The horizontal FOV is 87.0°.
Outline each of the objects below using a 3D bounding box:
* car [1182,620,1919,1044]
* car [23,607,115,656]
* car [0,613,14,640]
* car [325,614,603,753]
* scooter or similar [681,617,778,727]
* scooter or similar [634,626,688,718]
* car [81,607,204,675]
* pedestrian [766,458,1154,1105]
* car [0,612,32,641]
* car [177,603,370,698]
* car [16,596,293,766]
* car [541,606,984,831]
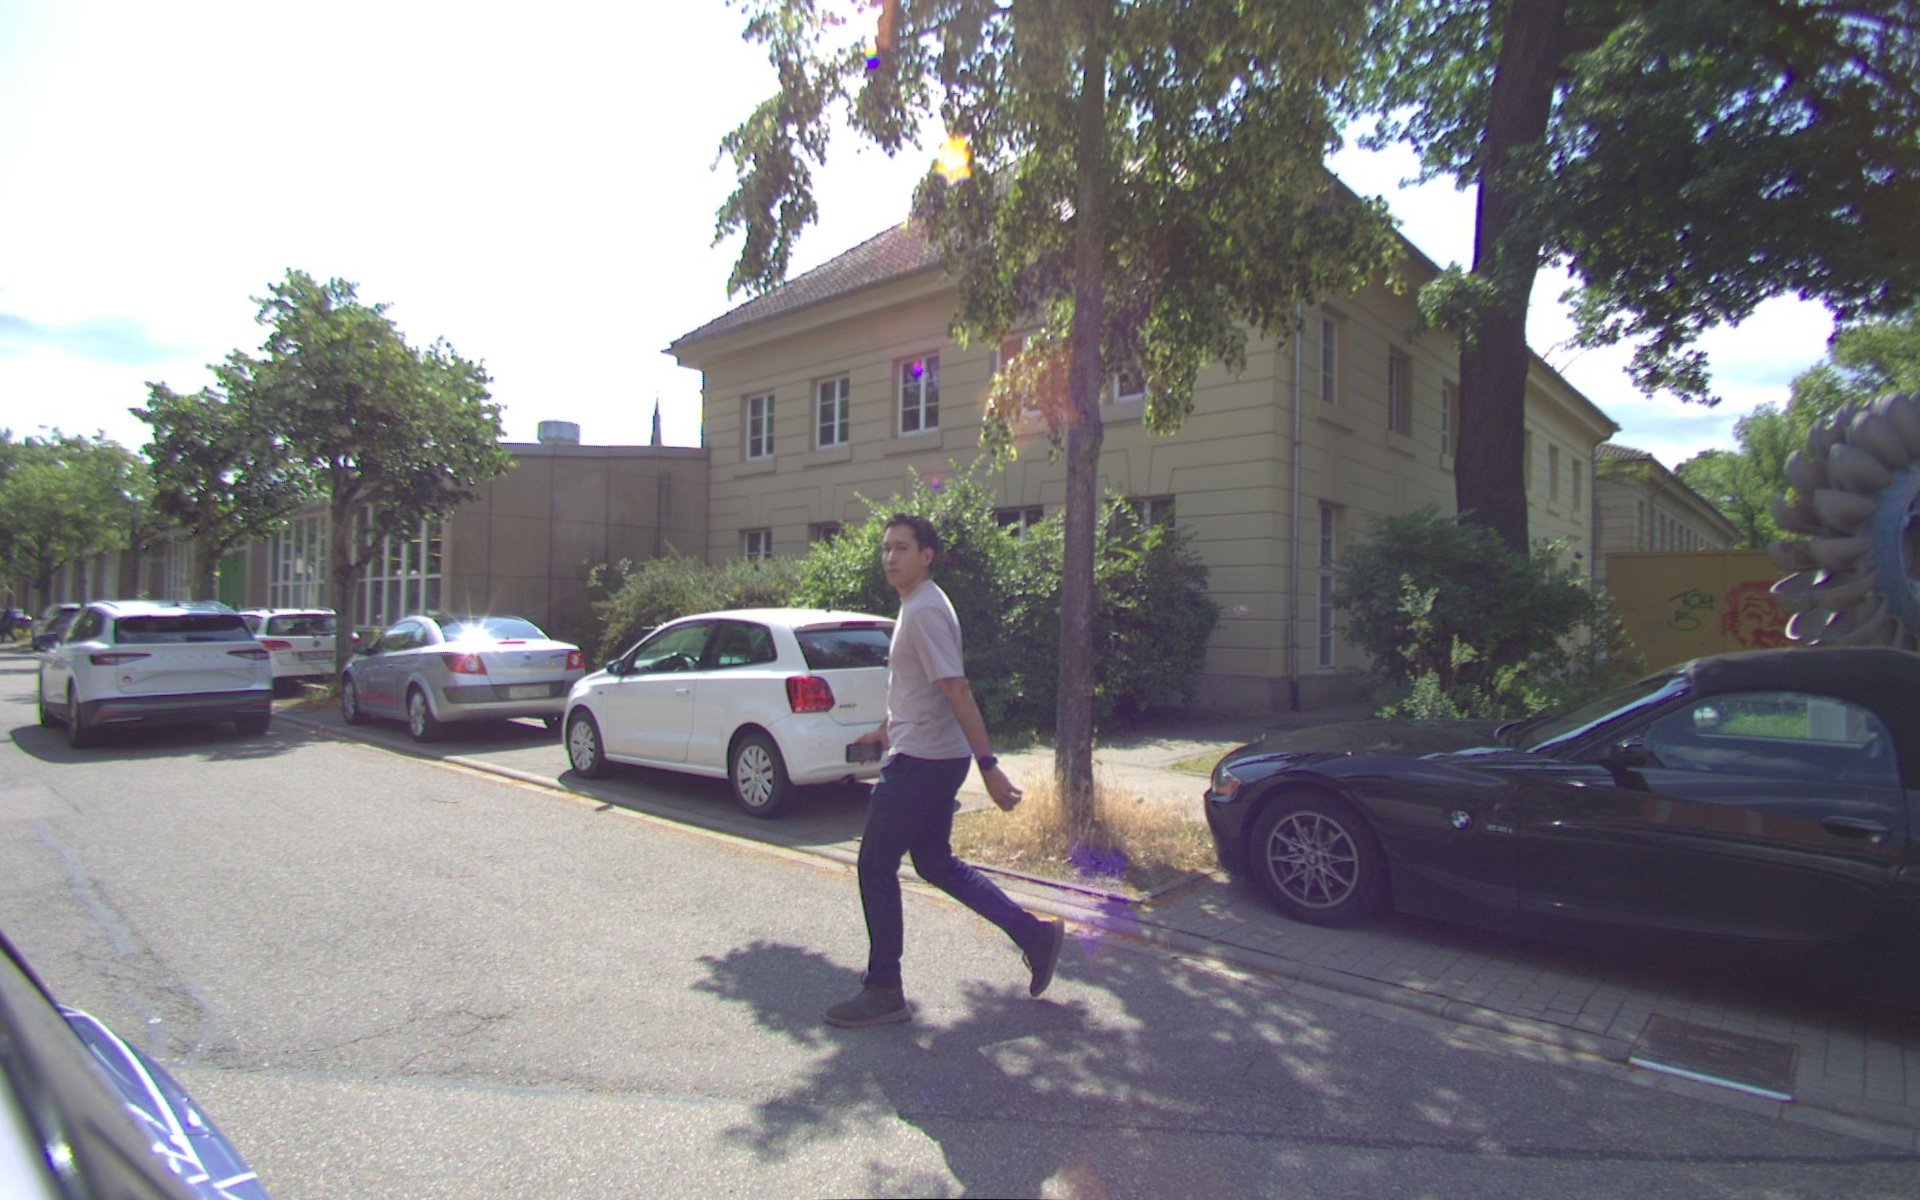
[{"bbox_3d":[3.069,0.757,4.220,3.928,1.310,1.627,-1,-2,44],"label":"car"},{"bbox_3d":[-31.981,1.074,36.281,4.513,1.644,1.803,0,0,40],"label":"car"},{"bbox_3d":[-53.716,1.469,56.012,3.751,1.460,1.612,-1,1,42],"label":"car"},{"bbox_3d":[-6.114,0.869,12.246,4.166,1.354,1.706,-1,0,44],"label":"car"},{"bbox_3d":[-2.858,0.879,12.517,1.229,1.298,0.518,-2,-6,43],"label":"scooter or similar"},{"bbox_3d":[-4.106,0.952,13.848,0.463,1.180,1.231,1,-1,-28],"label":"scooter or similar"},{"bbox_3d":[-20.828,0.978,25.732,4.111,1.568,1.739,0,0,41],"label":"car"},{"bbox_3d":[0.029,0.535,3.563,1.163,1.918,1.017,0,0,5],"label":"pedestrian"},{"bbox_3d":[-49.379,1.384,52.257,4.288,1.446,1.707,-2,0,42],"label":"car"},{"bbox_3d":[-12.309,0.803,18.031,4.580,1.467,1.707,0,0,41],"label":"car"},{"bbox_3d":[-9.971,0.807,12.400,4.519,1.631,1.898,1,2,42],"label":"car"},{"bbox_3d":[-1.778,0.776,8.349,3.806,1.422,1.644,-1,-1,42],"label":"car"}]
